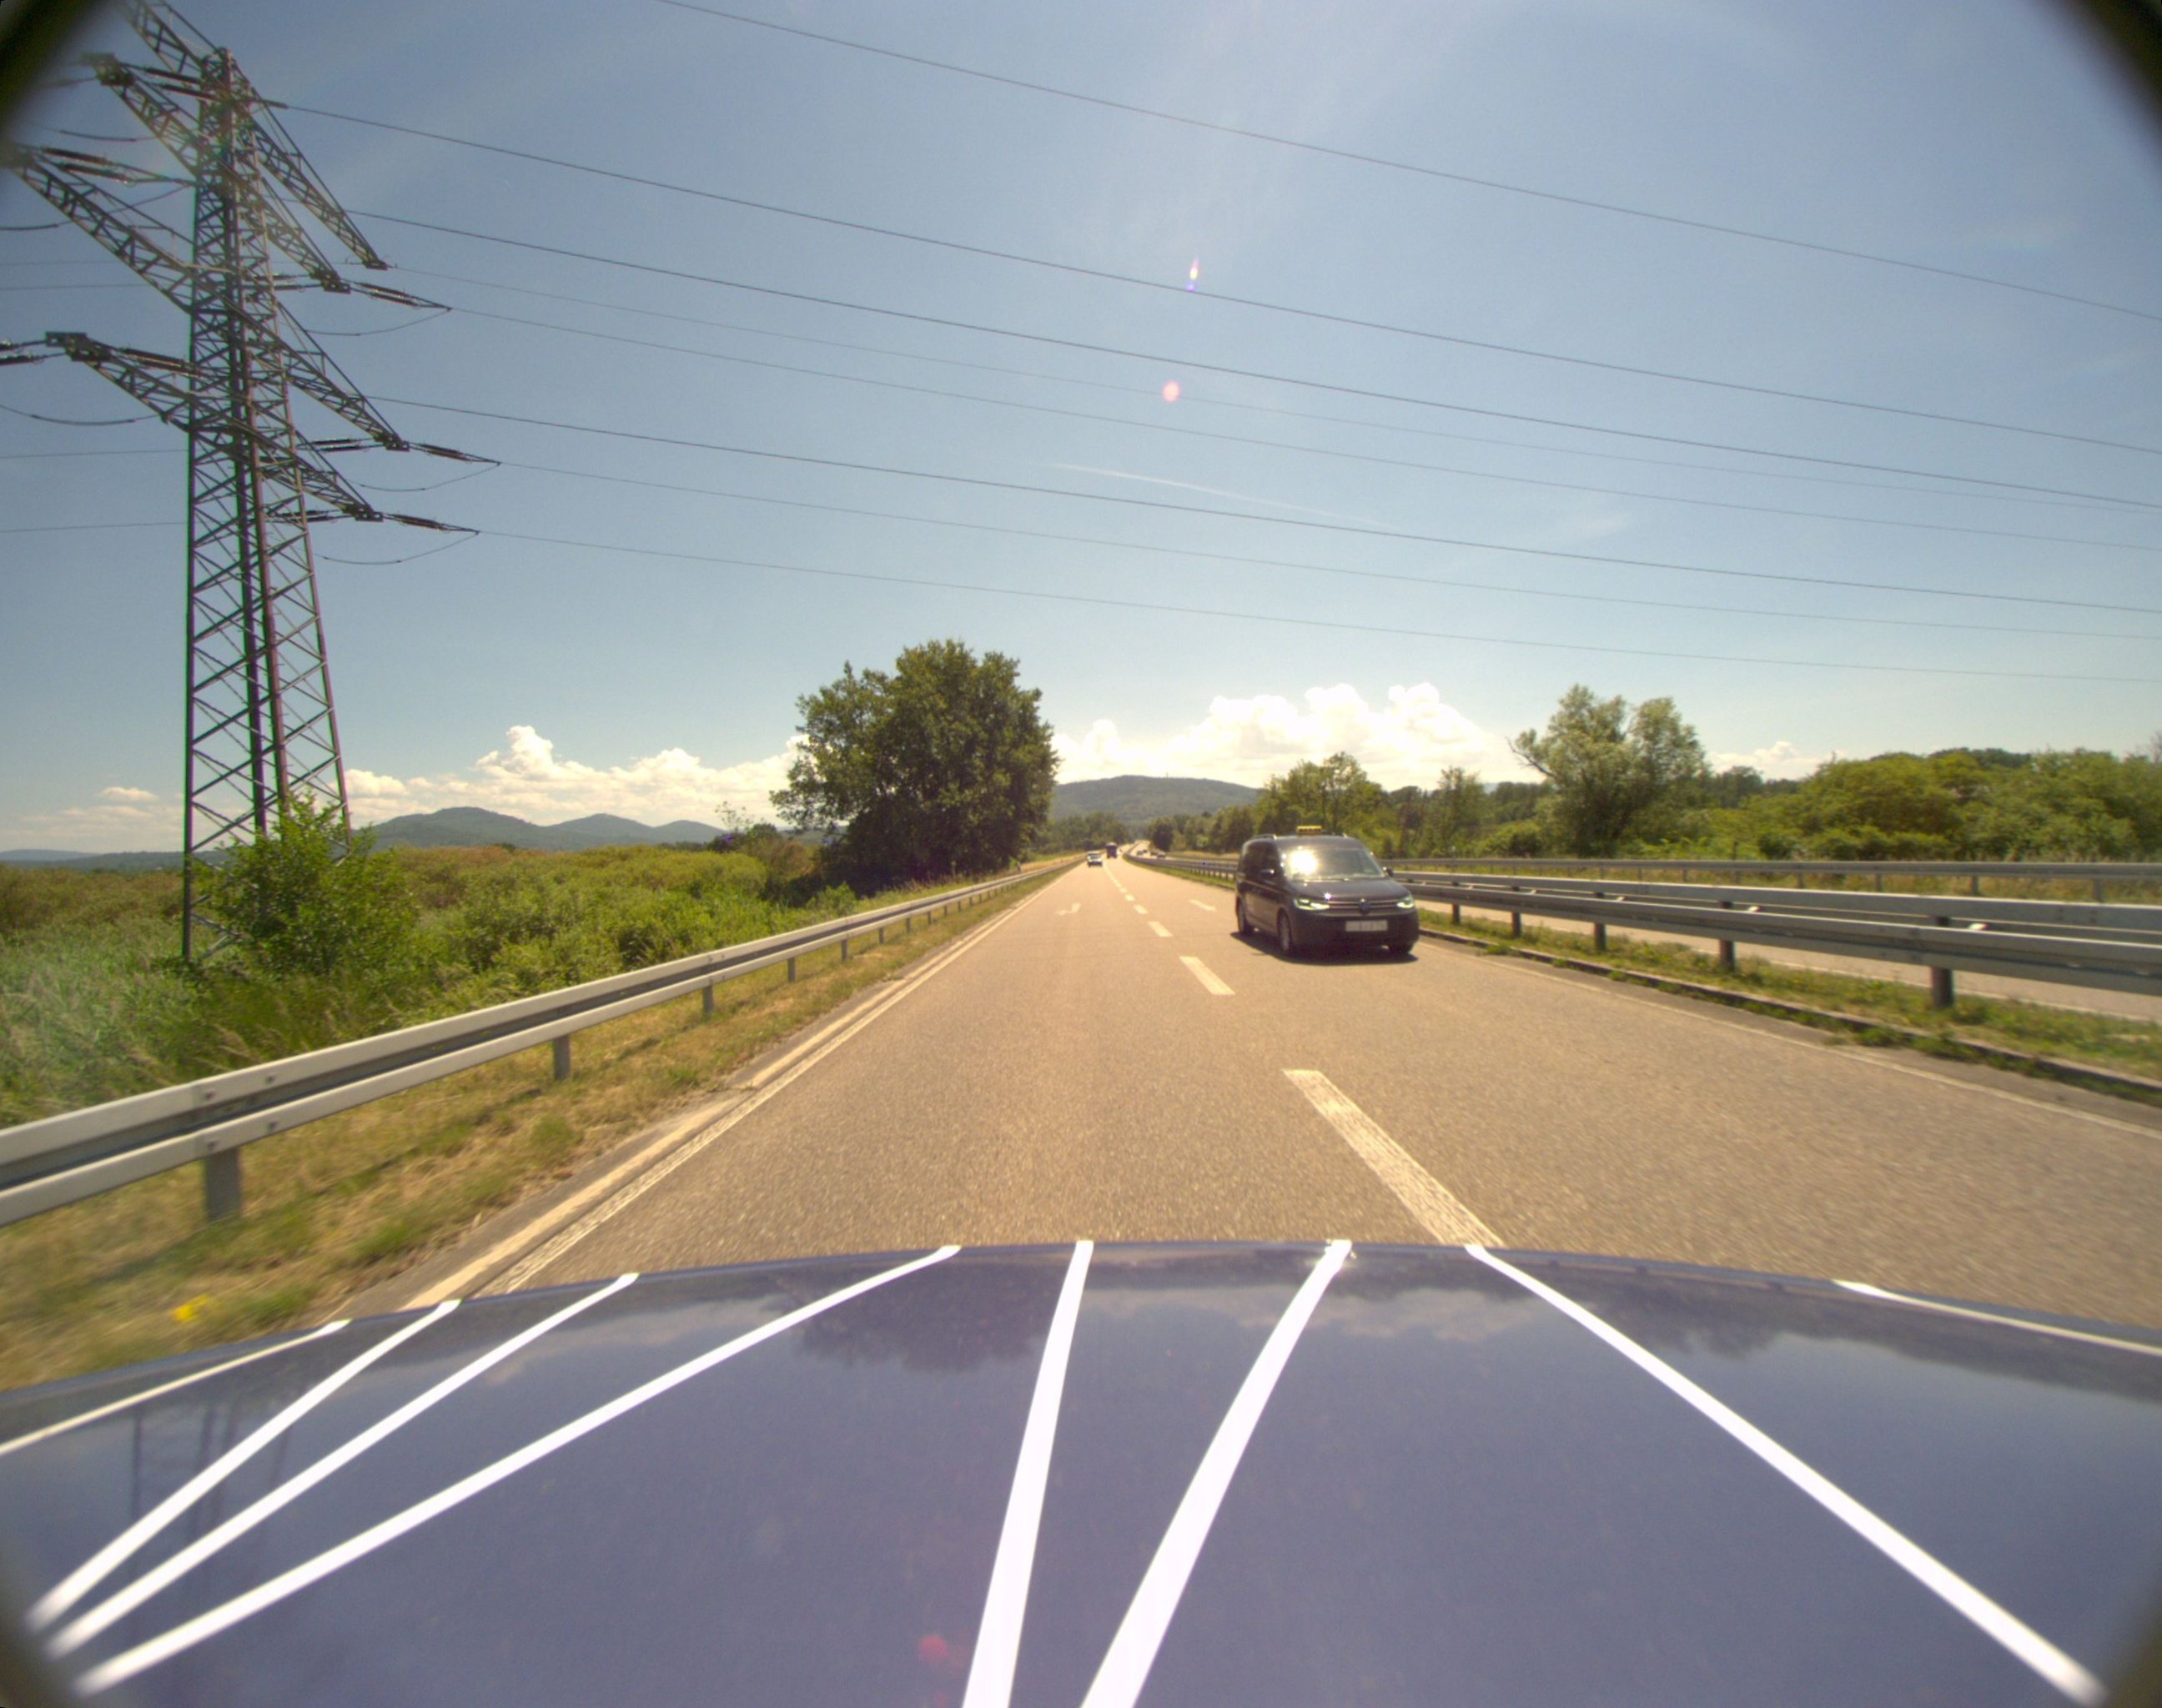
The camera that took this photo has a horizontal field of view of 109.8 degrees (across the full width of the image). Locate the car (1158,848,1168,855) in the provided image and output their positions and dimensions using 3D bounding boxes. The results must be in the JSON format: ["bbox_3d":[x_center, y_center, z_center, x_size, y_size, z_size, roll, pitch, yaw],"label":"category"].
[{"bbox_3d":[18.306,-0.594,169.368,1.929,1.377,4.658,-1,0,2],"label":"car"}]

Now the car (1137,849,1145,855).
[{"bbox_3d":[18.318,-0.573,231.849,1.984,1.797,4.969,-2,0,2],"label":"car"}]

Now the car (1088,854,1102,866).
[{"bbox_3d":[1.852,0.778,98.036,1.577,1.387,3.486,-2,1,4],"label":"car"}]

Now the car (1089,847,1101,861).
[{"bbox_3d":[2.241,0.051,117.263,1.619,2.085,3.486,-2,1,4],"label":"car"}]

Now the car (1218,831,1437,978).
[{"bbox_3d":[3.713,0.648,12.666,1.859,1.876,5.573,-2,0,1],"label":"car"}]

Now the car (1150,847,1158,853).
[{"bbox_3d":[20.690,-1.196,215.555,1.846,1.608,4.171,-2,0,2],"label":"car"}]

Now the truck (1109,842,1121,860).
[{"bbox_3d":[8.590,-0.810,191.335,2.826,4.143,9.949,-2,1,4],"label":"truck"}]
